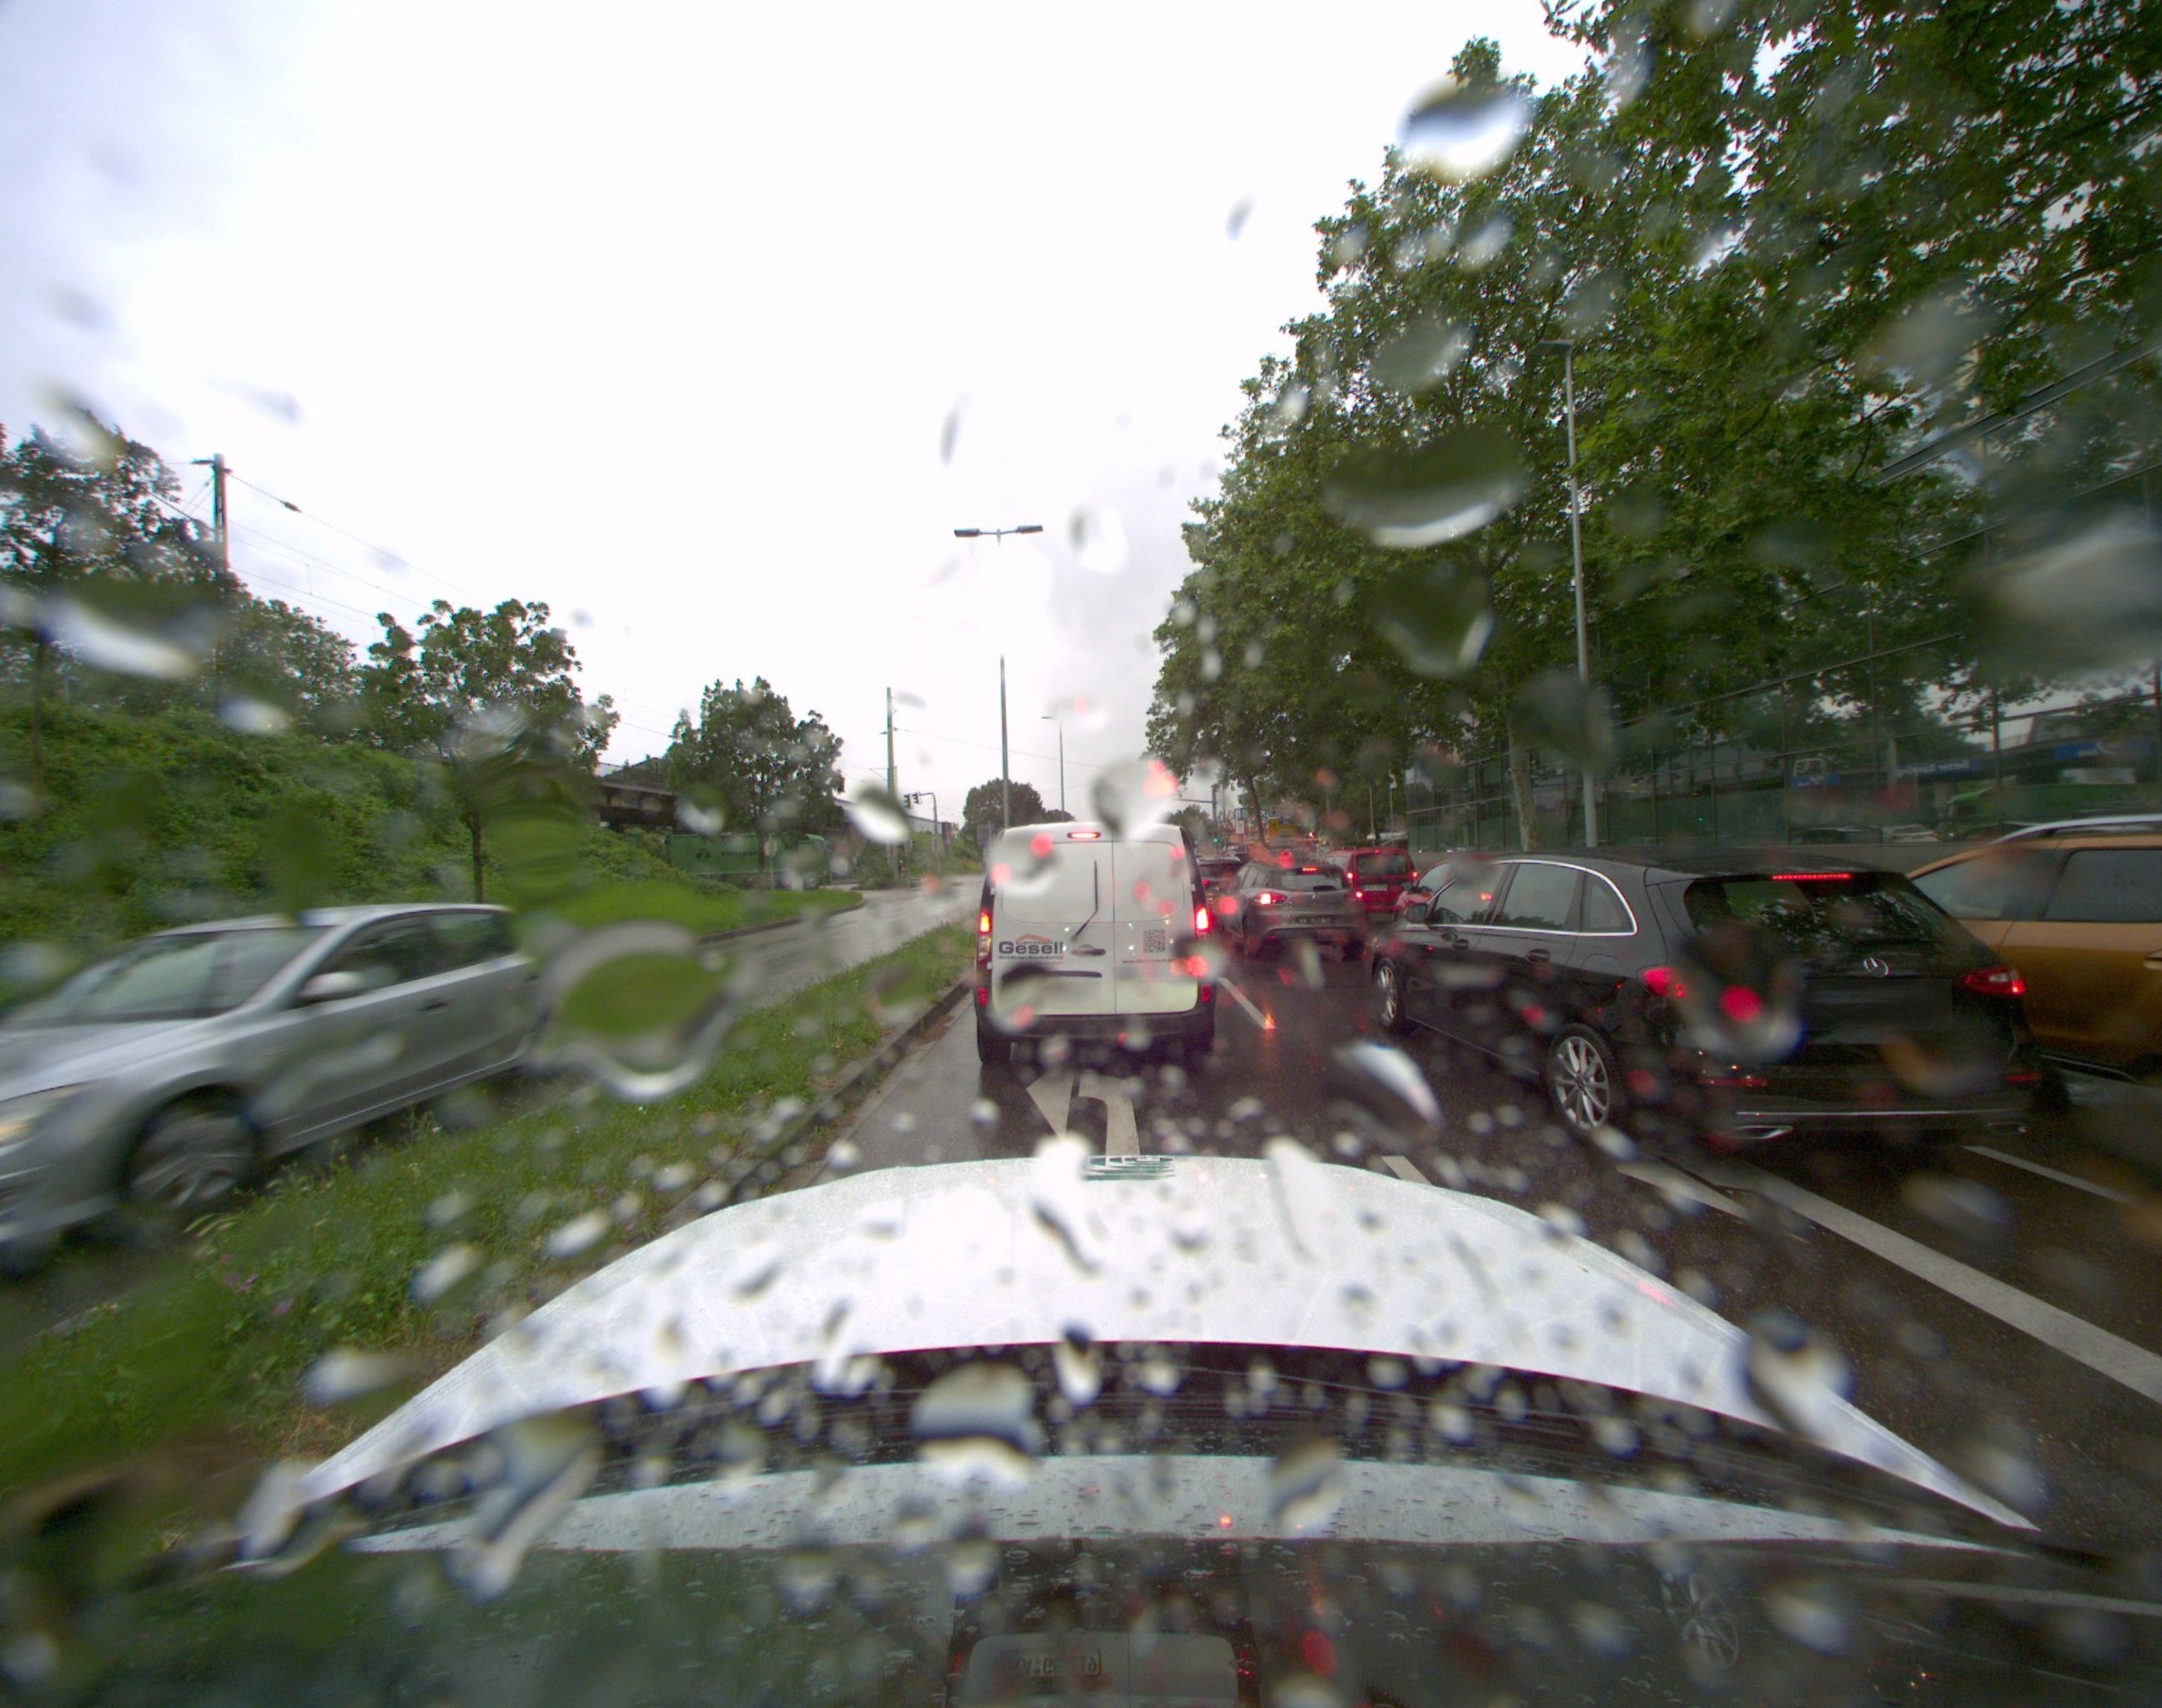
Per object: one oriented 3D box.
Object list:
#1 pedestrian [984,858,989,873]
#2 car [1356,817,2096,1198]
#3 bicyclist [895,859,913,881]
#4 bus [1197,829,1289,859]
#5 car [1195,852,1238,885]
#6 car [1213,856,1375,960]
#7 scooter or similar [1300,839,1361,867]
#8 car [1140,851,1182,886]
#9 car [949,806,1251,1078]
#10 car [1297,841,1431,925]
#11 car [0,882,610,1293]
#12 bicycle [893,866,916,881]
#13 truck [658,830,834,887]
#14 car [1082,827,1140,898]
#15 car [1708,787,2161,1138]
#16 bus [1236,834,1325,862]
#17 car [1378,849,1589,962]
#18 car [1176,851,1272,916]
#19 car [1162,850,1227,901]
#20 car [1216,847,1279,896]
[{"bbox_3d":[-11.242,1.367,96.433,0.541,1.716,0.563,0,-1,-2],"label":"pedestrian"},{"bbox_3d":[3.380,0.642,5.440,1.741,1.554,4.091,-1,0,1],"label":"car"},{"bbox_3d":[-12.121,1.085,55.870,1.045,1.450,0.723,-2,0,-23],"label":"bicyclist"},{"bbox_3d":[21.886,-1.353,110.583,11.926,3.423,2.316,-2,0,1],"label":"bus"},{"bbox_3d":[7.040,0.739,42.696,1.702,1.650,3.844,-1,-1,2],"label":"car"},{"bbox_3d":[3.251,0.746,13.143,1.677,1.408,3.844,0,0,1],"label":"car"},{"bbox_3d":[23.447,-0.083,76.678,1.905,2.446,5.257,-1,0,-39],"label":"scooter or similar"},{"bbox_3d":[4.002,0.721,41.210,1.847,1.650,3.844,-1,-1,2],"label":"car"},{"bbox_3d":[0.196,0.584,7.763,1.986,1.776,4.587,-1,0,2],"label":"car"},{"bbox_3d":[6.312,0.612,18.669,1.704,1.694,4.273,0,-1,2],"label":"car"},{"bbox_3d":[-5.080,1.033,5.068,1.810,1.462,4.001,-4,0,1],"label":"car"},{"bbox_3d":[-12.171,1.333,55.994,1.045,0.952,2.866,-2,0,-22],"label":"bicycle"},{"bbox_3d":[-21.308,0.208,52.311,10.105,3.371,2.322,-2,0,-35],"label":"truck"},{"bbox_3d":[1.055,0.288,28.756,1.847,2.296,3.844,-1,0,2],"label":"car"},{"bbox_3d":[6.056,0.516,4.771,1.668,1.685,4.149,0,1,2],"label":"car"},{"bbox_3d":[28.178,-0.847,115.143,11.960,3.423,2.477,-2,0,-7],"label":"bus"},{"bbox_3d":[5.907,0.673,12.408,1.563,1.462,3.390,-1,0,1],"label":"car"},{"bbox_3d":[3.504,0.671,20.673,1.847,1.460,3.844,-1,0,2],"label":"car"},{"bbox_3d":[3.978,0.723,29.058,1.847,1.649,3.844,-1,0,2],"label":"car"},{"bbox_3d":[6.329,0.619,31.333,1.701,1.728,3.844,-1,0,2],"label":"car"}]
